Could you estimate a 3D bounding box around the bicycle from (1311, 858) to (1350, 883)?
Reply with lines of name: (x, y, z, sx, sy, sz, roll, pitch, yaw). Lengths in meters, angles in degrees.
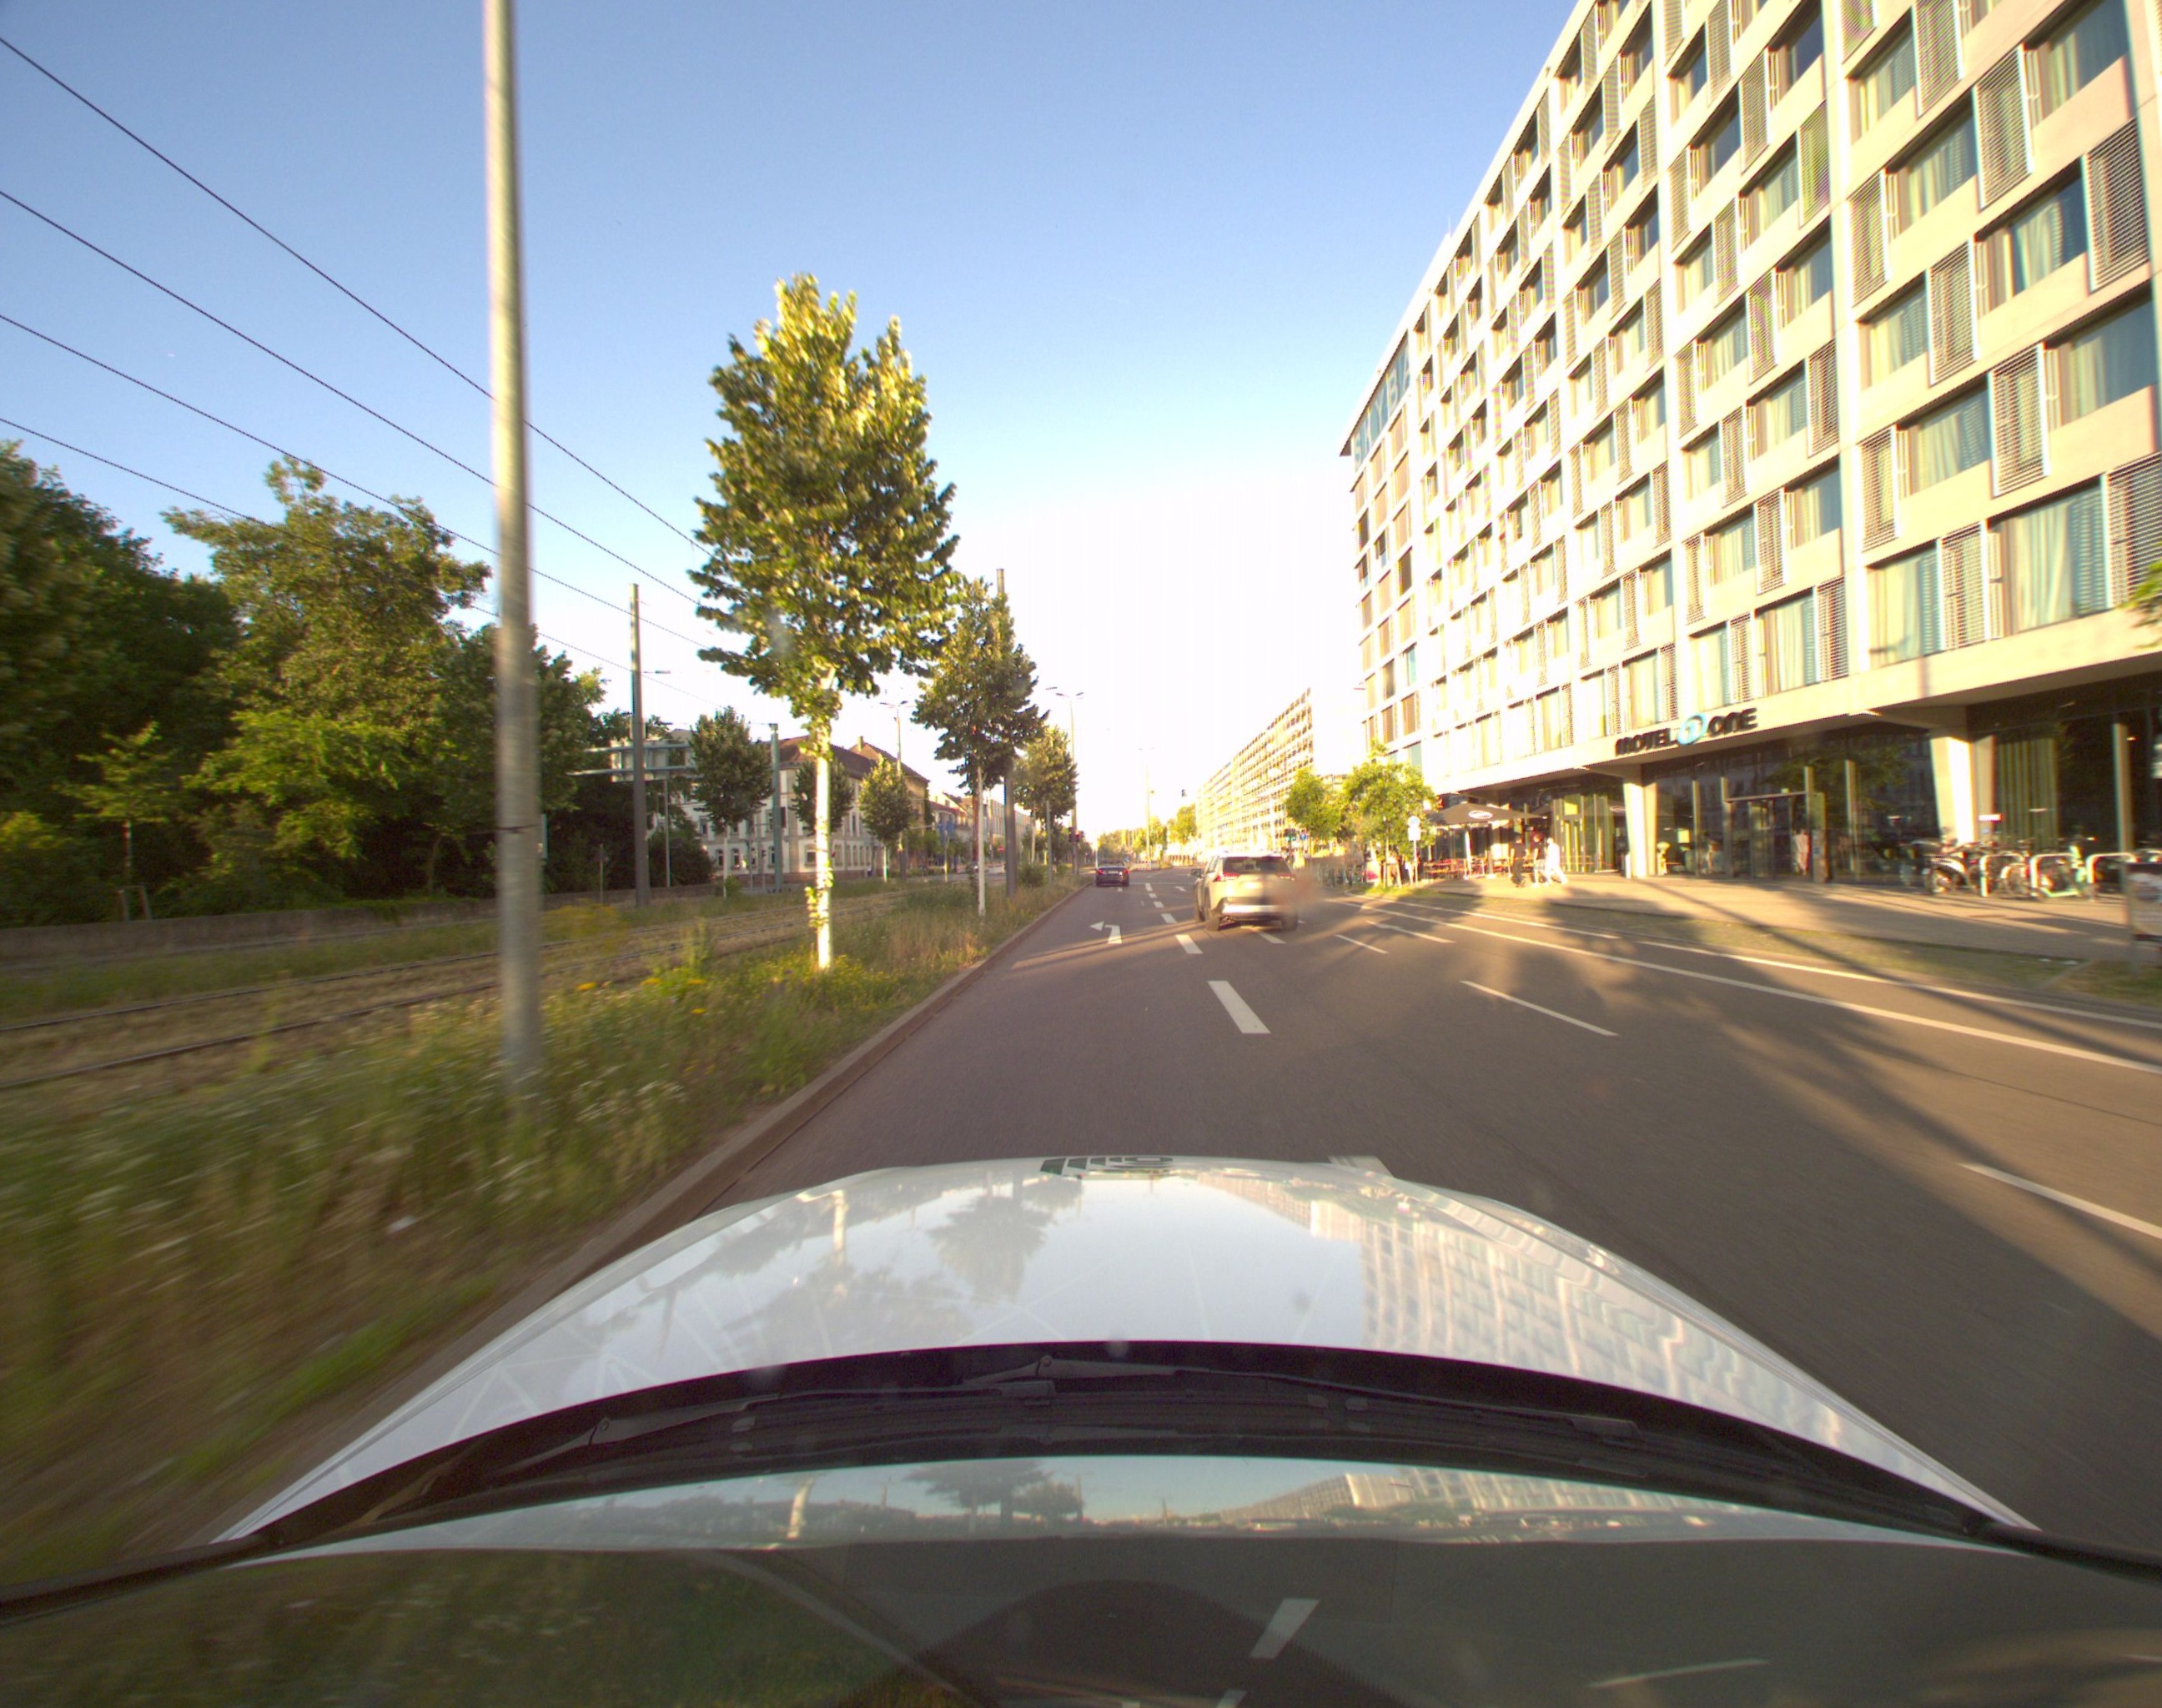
bicycle: (13.148, 0.885, 42.971, 1.789, 1.193, 0.567, -4, 0, -3)

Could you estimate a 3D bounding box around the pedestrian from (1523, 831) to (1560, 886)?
pedestrian: (15.999, 0.149, 28.335, 0.751, 1.824, 0.943, -4, -1, 11)

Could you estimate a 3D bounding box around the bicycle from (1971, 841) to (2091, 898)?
bicycle: (18.535, 0.297, 15.904, 1.694, 0.986, 0.550, -4, 0, -1)

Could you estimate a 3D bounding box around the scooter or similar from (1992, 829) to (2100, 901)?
scooter or similar: (18.090, 0.197, 15.280, 1.264, 1.233, 0.608, -4, 0, -2)

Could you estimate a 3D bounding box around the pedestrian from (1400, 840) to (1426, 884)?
pedestrian: (14.829, 0.359, 36.409, 0.819, 1.888, 0.869, -4, -2, 11)

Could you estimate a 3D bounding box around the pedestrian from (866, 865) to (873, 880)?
pedestrian: (-24.271, 2.138, 93.390, 0.704, 1.716, 0.807, 0, 0, -20)

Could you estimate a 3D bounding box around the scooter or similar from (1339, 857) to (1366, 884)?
scooter or similar: (13.052, 0.812, 39.194, 1.119, 1.214, 0.534, -4, -2, 17)

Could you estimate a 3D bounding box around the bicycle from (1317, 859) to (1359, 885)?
bicycle: (12.992, 0.909, 41.153, 1.839, 1.182, 0.608, -4, 0, 2)

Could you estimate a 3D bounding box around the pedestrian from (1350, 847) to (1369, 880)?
pedestrian: (15.173, 0.505, 44.351, 0.682, 1.735, 0.761, -4, 0, 2)

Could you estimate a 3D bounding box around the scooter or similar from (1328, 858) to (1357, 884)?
scooter or similar: (12.835, 0.846, 39.992, 1.151, 1.191, 0.510, -4, -2, 4)

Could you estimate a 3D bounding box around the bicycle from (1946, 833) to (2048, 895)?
bicycle: (18.851, 0.199, 16.771, 1.607, 1.154, 0.610, -4, 0, -10)

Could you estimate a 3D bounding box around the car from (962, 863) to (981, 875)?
car: (-16.168, 2.227, 120.188, 1.985, 1.580, 4.128, -3, 0, 4)

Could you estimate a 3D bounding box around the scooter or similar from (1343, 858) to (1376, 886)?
scooter or similar: (12.825, 0.825, 37.460, 1.280, 1.218, 0.539, -5, -1, 26)

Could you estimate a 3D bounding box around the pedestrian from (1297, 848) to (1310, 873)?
pedestrian: (16.653, 0.477, 60.940, 0.765, 1.847, 0.679, -3, 0, 2)

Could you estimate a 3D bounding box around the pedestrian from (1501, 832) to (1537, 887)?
pedestrian: (15.324, 0.181, 28.537, 0.739, 1.849, 0.943, -5, -1, 11)

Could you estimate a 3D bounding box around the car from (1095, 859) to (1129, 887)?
car: (1.667, 0.965, 43.107, 1.667, 1.352, 4.003, -1, 0, 3)

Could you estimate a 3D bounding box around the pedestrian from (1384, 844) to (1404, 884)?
pedestrian: (14.247, 0.459, 37.062, 0.573, 1.786, 0.830, -4, -2, 8)

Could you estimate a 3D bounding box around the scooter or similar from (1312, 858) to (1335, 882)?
scooter or similar: (13.135, 0.871, 44.097, 1.054, 1.223, 0.551, -4, -1, 12)

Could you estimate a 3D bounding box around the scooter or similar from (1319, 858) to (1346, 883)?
scooter or similar: (13.090, 0.876, 42.437, 1.206, 1.201, 0.480, -4, 0, -3)

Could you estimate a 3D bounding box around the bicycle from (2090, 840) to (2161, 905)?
bicycle: (18.426, 0.277, 13.807, 1.879, 1.010, 0.565, -4, -1, 0)

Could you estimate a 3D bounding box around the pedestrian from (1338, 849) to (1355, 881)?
pedestrian: (14.467, 0.579, 44.377, 0.651, 1.702, 0.689, -4, 0, 2)

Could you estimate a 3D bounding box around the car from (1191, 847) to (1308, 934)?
car: (3.588, 0.711, 18.081, 1.827, 1.672, 4.284, -1, 0, 2)

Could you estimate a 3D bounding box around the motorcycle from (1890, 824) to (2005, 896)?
motorcycle: (18.682, 0.123, 17.570, 2.113, 1.386, 0.669, -3, 0, -12)

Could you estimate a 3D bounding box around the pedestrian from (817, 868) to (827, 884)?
pedestrian: (-25.142, 2.144, 79.040, 0.601, 1.458, 0.936, 0, 0, 2)

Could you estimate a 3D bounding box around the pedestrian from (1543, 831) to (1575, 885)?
pedestrian: (16.784, 0.133, 28.615, 0.615, 1.811, 0.779, -5, -1, 11)
